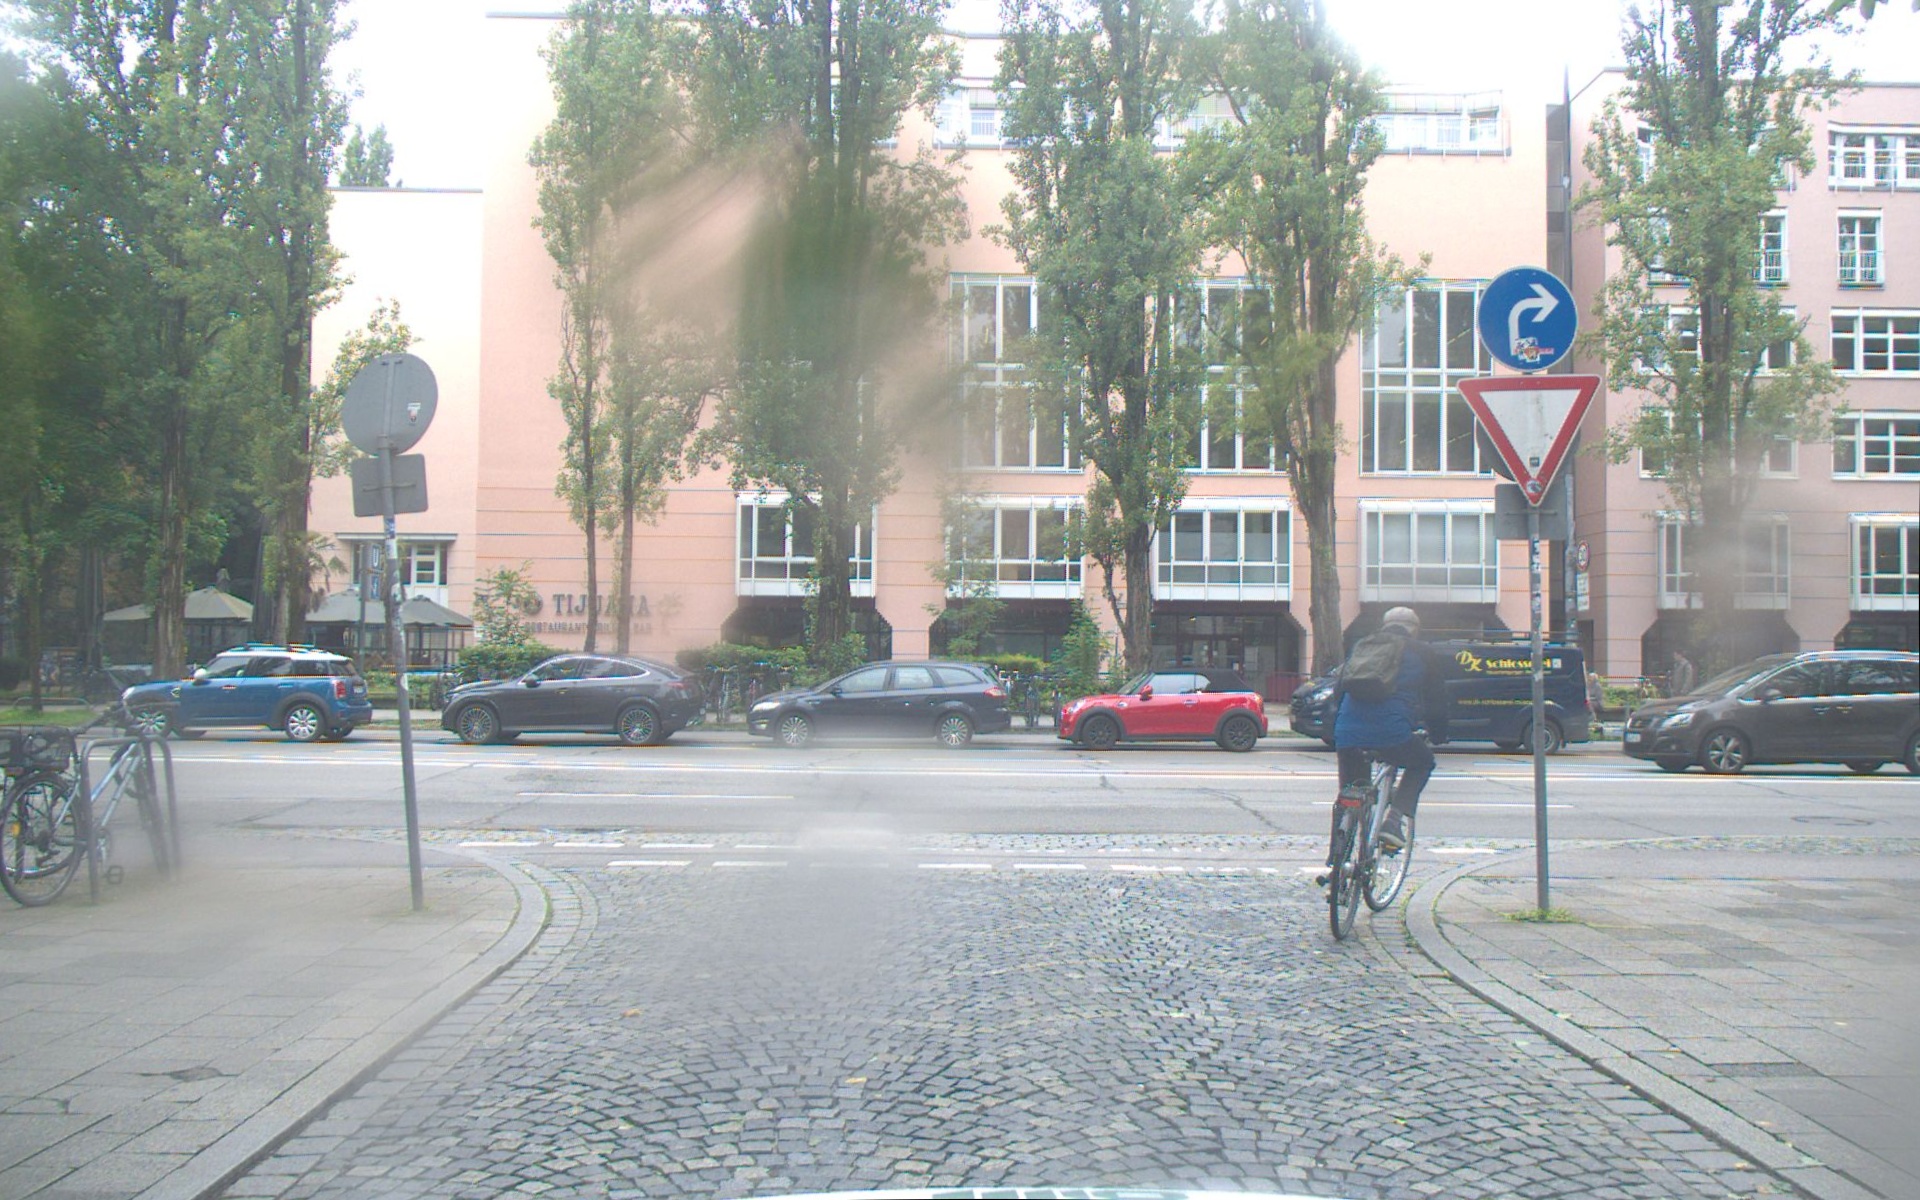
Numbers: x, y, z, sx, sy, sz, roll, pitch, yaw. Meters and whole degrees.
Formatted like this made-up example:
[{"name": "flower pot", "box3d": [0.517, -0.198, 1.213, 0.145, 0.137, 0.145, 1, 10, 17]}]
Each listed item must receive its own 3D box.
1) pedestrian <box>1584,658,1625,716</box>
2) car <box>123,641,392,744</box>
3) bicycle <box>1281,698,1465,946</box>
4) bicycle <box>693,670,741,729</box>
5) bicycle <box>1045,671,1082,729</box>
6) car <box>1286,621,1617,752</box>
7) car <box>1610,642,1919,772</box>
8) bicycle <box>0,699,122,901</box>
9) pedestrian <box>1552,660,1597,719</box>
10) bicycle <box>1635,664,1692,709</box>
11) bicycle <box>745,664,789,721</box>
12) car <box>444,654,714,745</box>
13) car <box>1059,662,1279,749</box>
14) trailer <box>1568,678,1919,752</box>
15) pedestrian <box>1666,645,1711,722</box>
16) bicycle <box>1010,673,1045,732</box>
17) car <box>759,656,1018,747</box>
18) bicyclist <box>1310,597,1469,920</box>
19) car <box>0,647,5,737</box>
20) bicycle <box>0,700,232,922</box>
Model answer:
[{"name": "pedestrian", "box3d": [15.549, 2.091, 39.899, 0.714, 1.393, 0.709, 1, -2, 0]}, {"name": "car", "box3d": [-12.471, 1.662, 29.560, 3.983, 1.762, 1.792, 0, -3, -2]}, {"name": "bicycle", "box3d": [2.307, 1.140, 9.087, 0.702, 1.168, 1.899, -1, -3, 23]}, {"name": "bicycle", "box3d": [-4.950, 2.013, 33.818, 0.660, 1.144, 1.989, 0, -2, 0]}, {"name": "bicycle", "box3d": [2.108, 2.040, 33.920, 0.660, 1.144, 1.741, 0, -2, 0]}, {"name": "car", "box3d": [8.733, 1.539, 29.746, 5.367, 2.236, 2.023, 0, -2, 0]}, {"name": "car", "box3d": [12.073, 1.524, 23.745, 4.701, 1.752, 1.999, 0, -3, 0]}, {"name": "bicycle", "box3d": [-5.667, 1.162, 9.726, 0.480, 1.112, 1.704, 0, -2, 4]}, {"name": "pedestrian", "box3d": [14.798, 2.142, 39.832, 0.699, 1.393, 0.724, 2, -2, -29]}, {"name": "bicycle", "box3d": [18.532, 2.279, 43.634, 0.660, 1.144, 1.989, 0, -2, 0]}, {"name": "bicycle", "box3d": [-3.969, 1.891, 34.151, 0.660, 1.144, 1.989, 0, -2, 0]}, {"name": "car", "box3d": [-6.750, 1.758, 29.632, 4.408, 1.556, 1.793, 0, -2, -1]}, {"name": "car", "box3d": [3.676, 1.865, 29.589, 3.780, 1.474, 1.678, 0, -2, 2]}, {"name": "trailer", "box3d": [14.372, 2.051, 29.889, 5.895, 1.220, 2.404, 0, -2, 0]}, {"name": "pedestrian", "box3d": [16.669, 1.901, 37.875, 0.714, 1.744, 0.709, 1, -2, 0]}, {"name": "bicycle", "box3d": [1.376, 2.089, 33.882, 0.660, 1.144, 1.741, 0, -2, 0]}, {"name": "car", "box3d": [-1.243, 1.803, 29.736, 4.514, 1.556, 1.793, 0, -2, -1]}, {"name": "bicyclist", "box3d": [2.333, 0.822, 8.949, 0.708, 1.648, 0.756, 0, -2, 25]}, {"name": "car", "box3d": [-19.467, 1.636, 29.173, 4.137, 1.629, 1.793, 0, -2, -1]}, {"name": "bicycle", "box3d": [-4.901, 1.160, 9.574, 0.480, 1.112, 1.704, 0, -2, 4]}]
